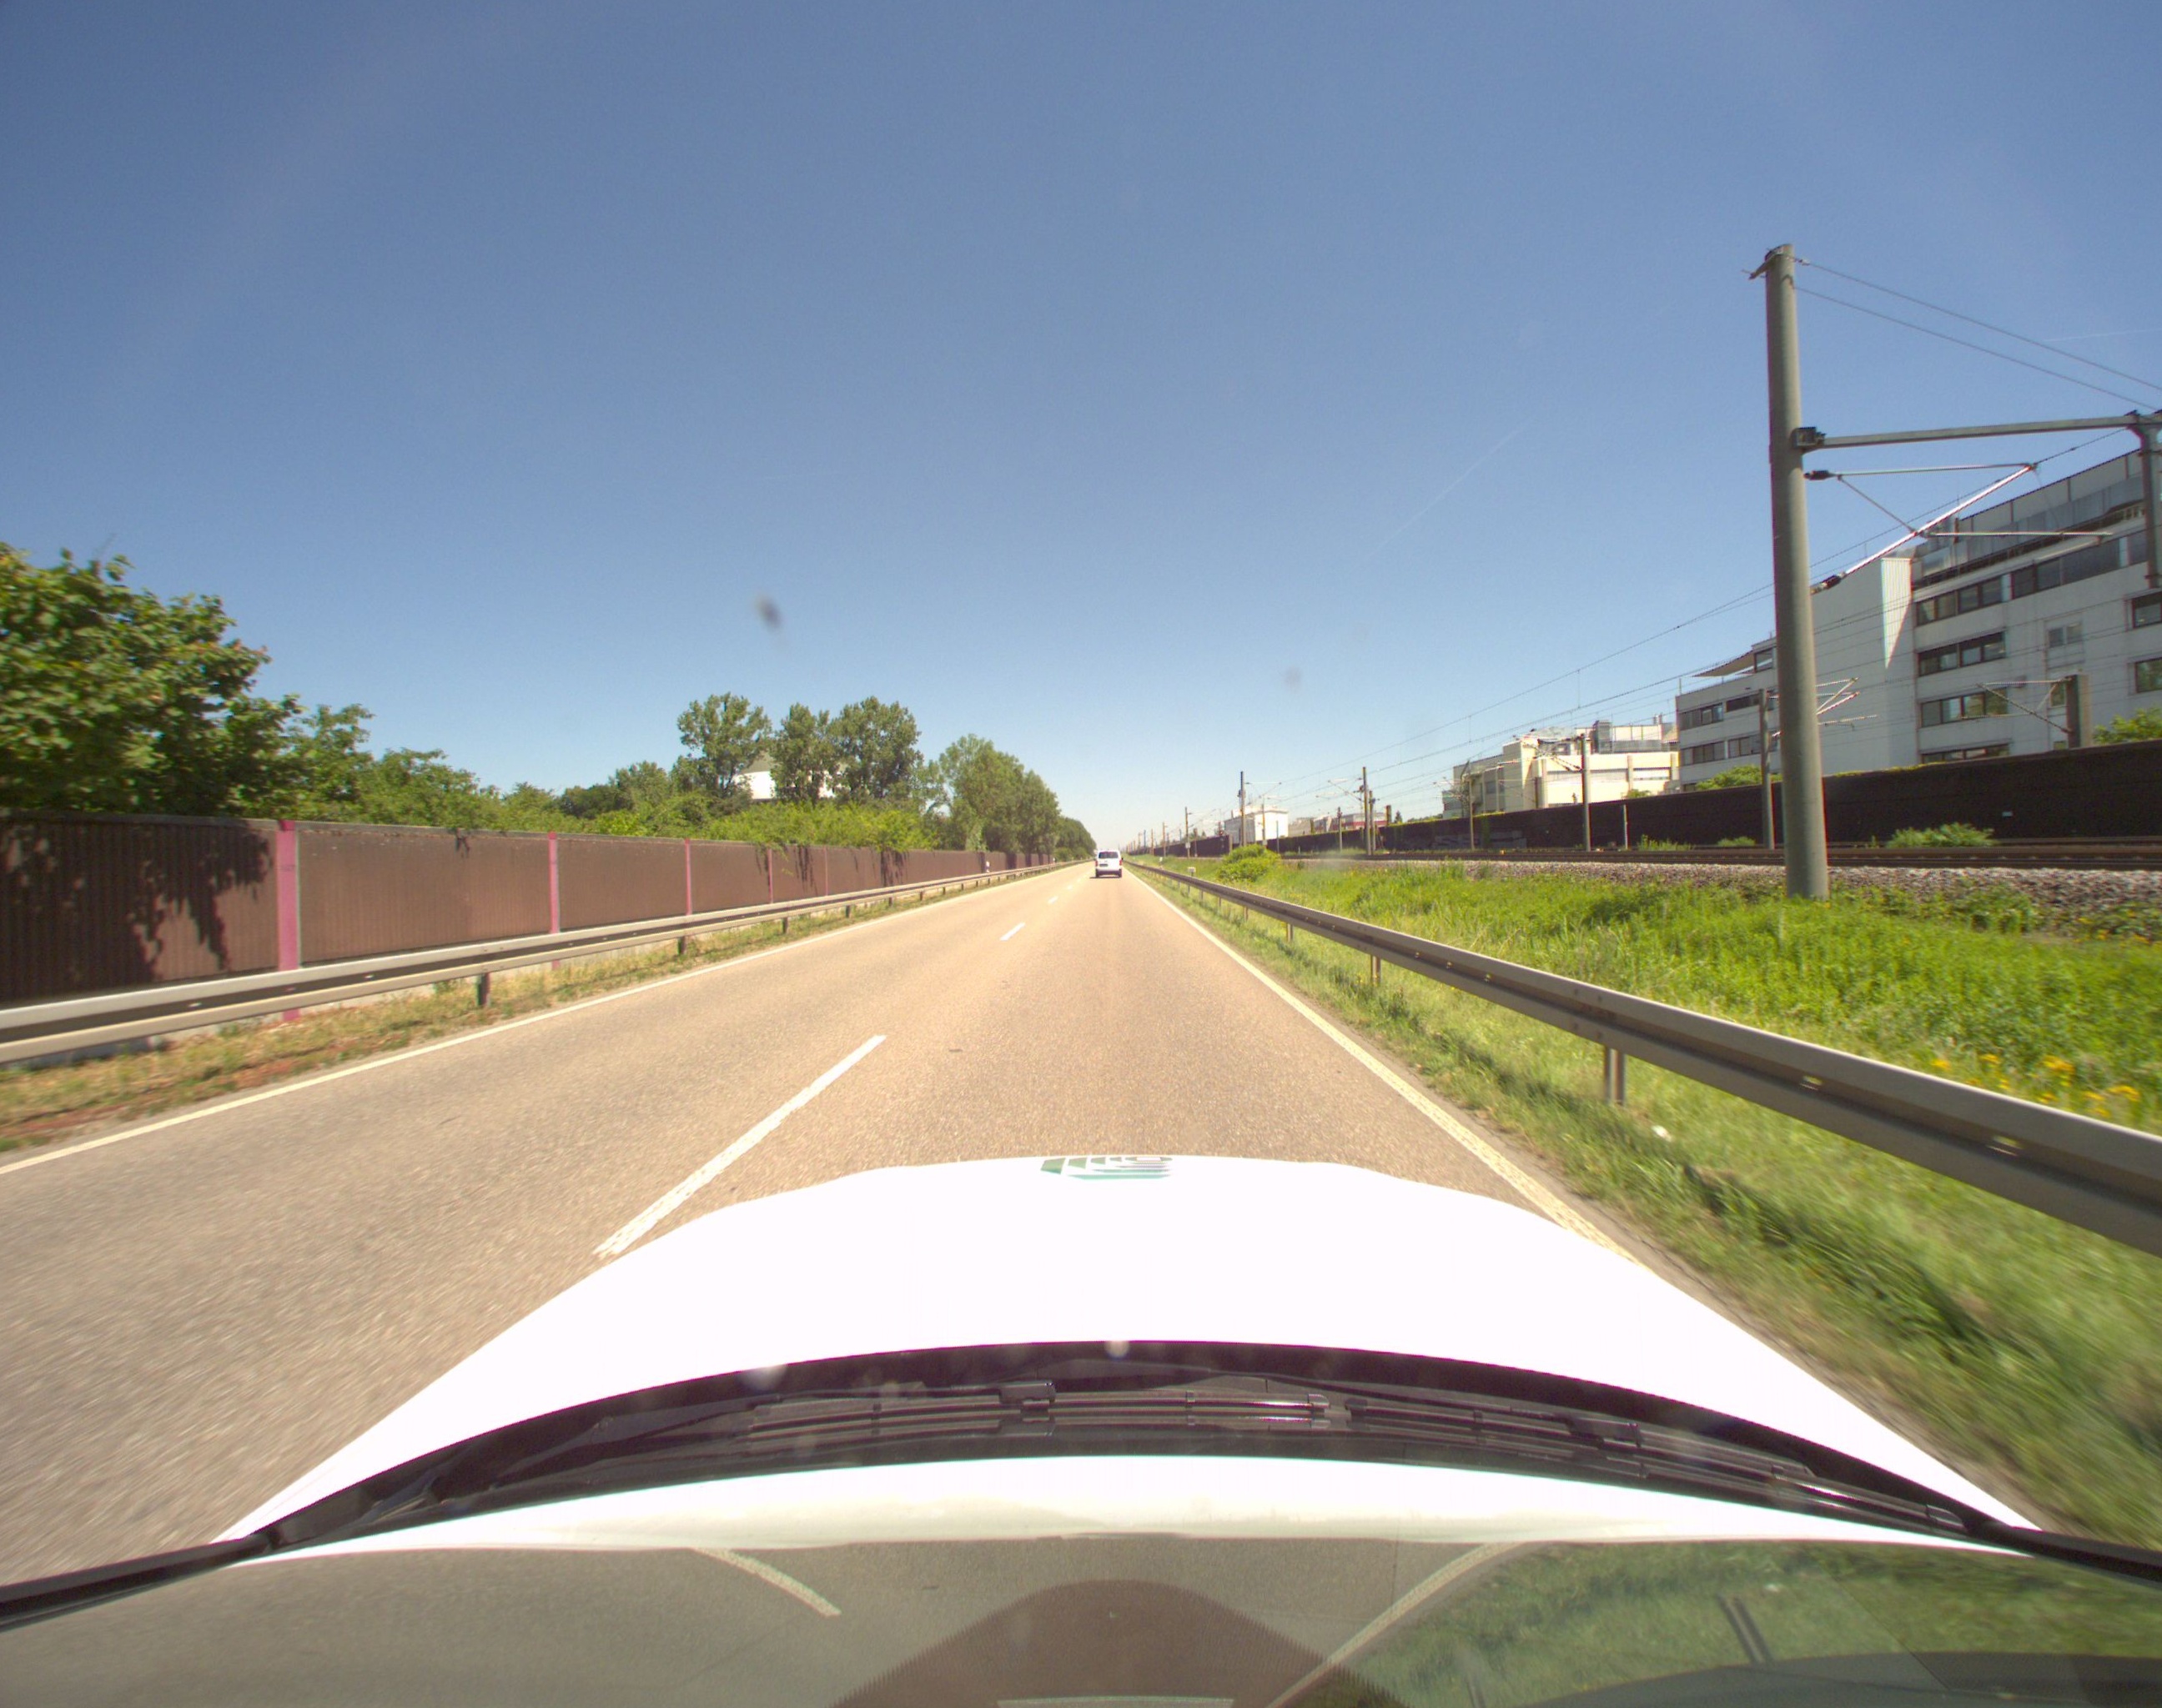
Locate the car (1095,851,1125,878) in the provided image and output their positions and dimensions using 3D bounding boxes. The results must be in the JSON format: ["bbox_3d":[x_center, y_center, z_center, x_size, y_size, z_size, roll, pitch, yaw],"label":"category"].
[{"bbox_3d":[2.057,0.710,57.717,1.986,1.850,4.002,0,0,2],"label":"car"}]
